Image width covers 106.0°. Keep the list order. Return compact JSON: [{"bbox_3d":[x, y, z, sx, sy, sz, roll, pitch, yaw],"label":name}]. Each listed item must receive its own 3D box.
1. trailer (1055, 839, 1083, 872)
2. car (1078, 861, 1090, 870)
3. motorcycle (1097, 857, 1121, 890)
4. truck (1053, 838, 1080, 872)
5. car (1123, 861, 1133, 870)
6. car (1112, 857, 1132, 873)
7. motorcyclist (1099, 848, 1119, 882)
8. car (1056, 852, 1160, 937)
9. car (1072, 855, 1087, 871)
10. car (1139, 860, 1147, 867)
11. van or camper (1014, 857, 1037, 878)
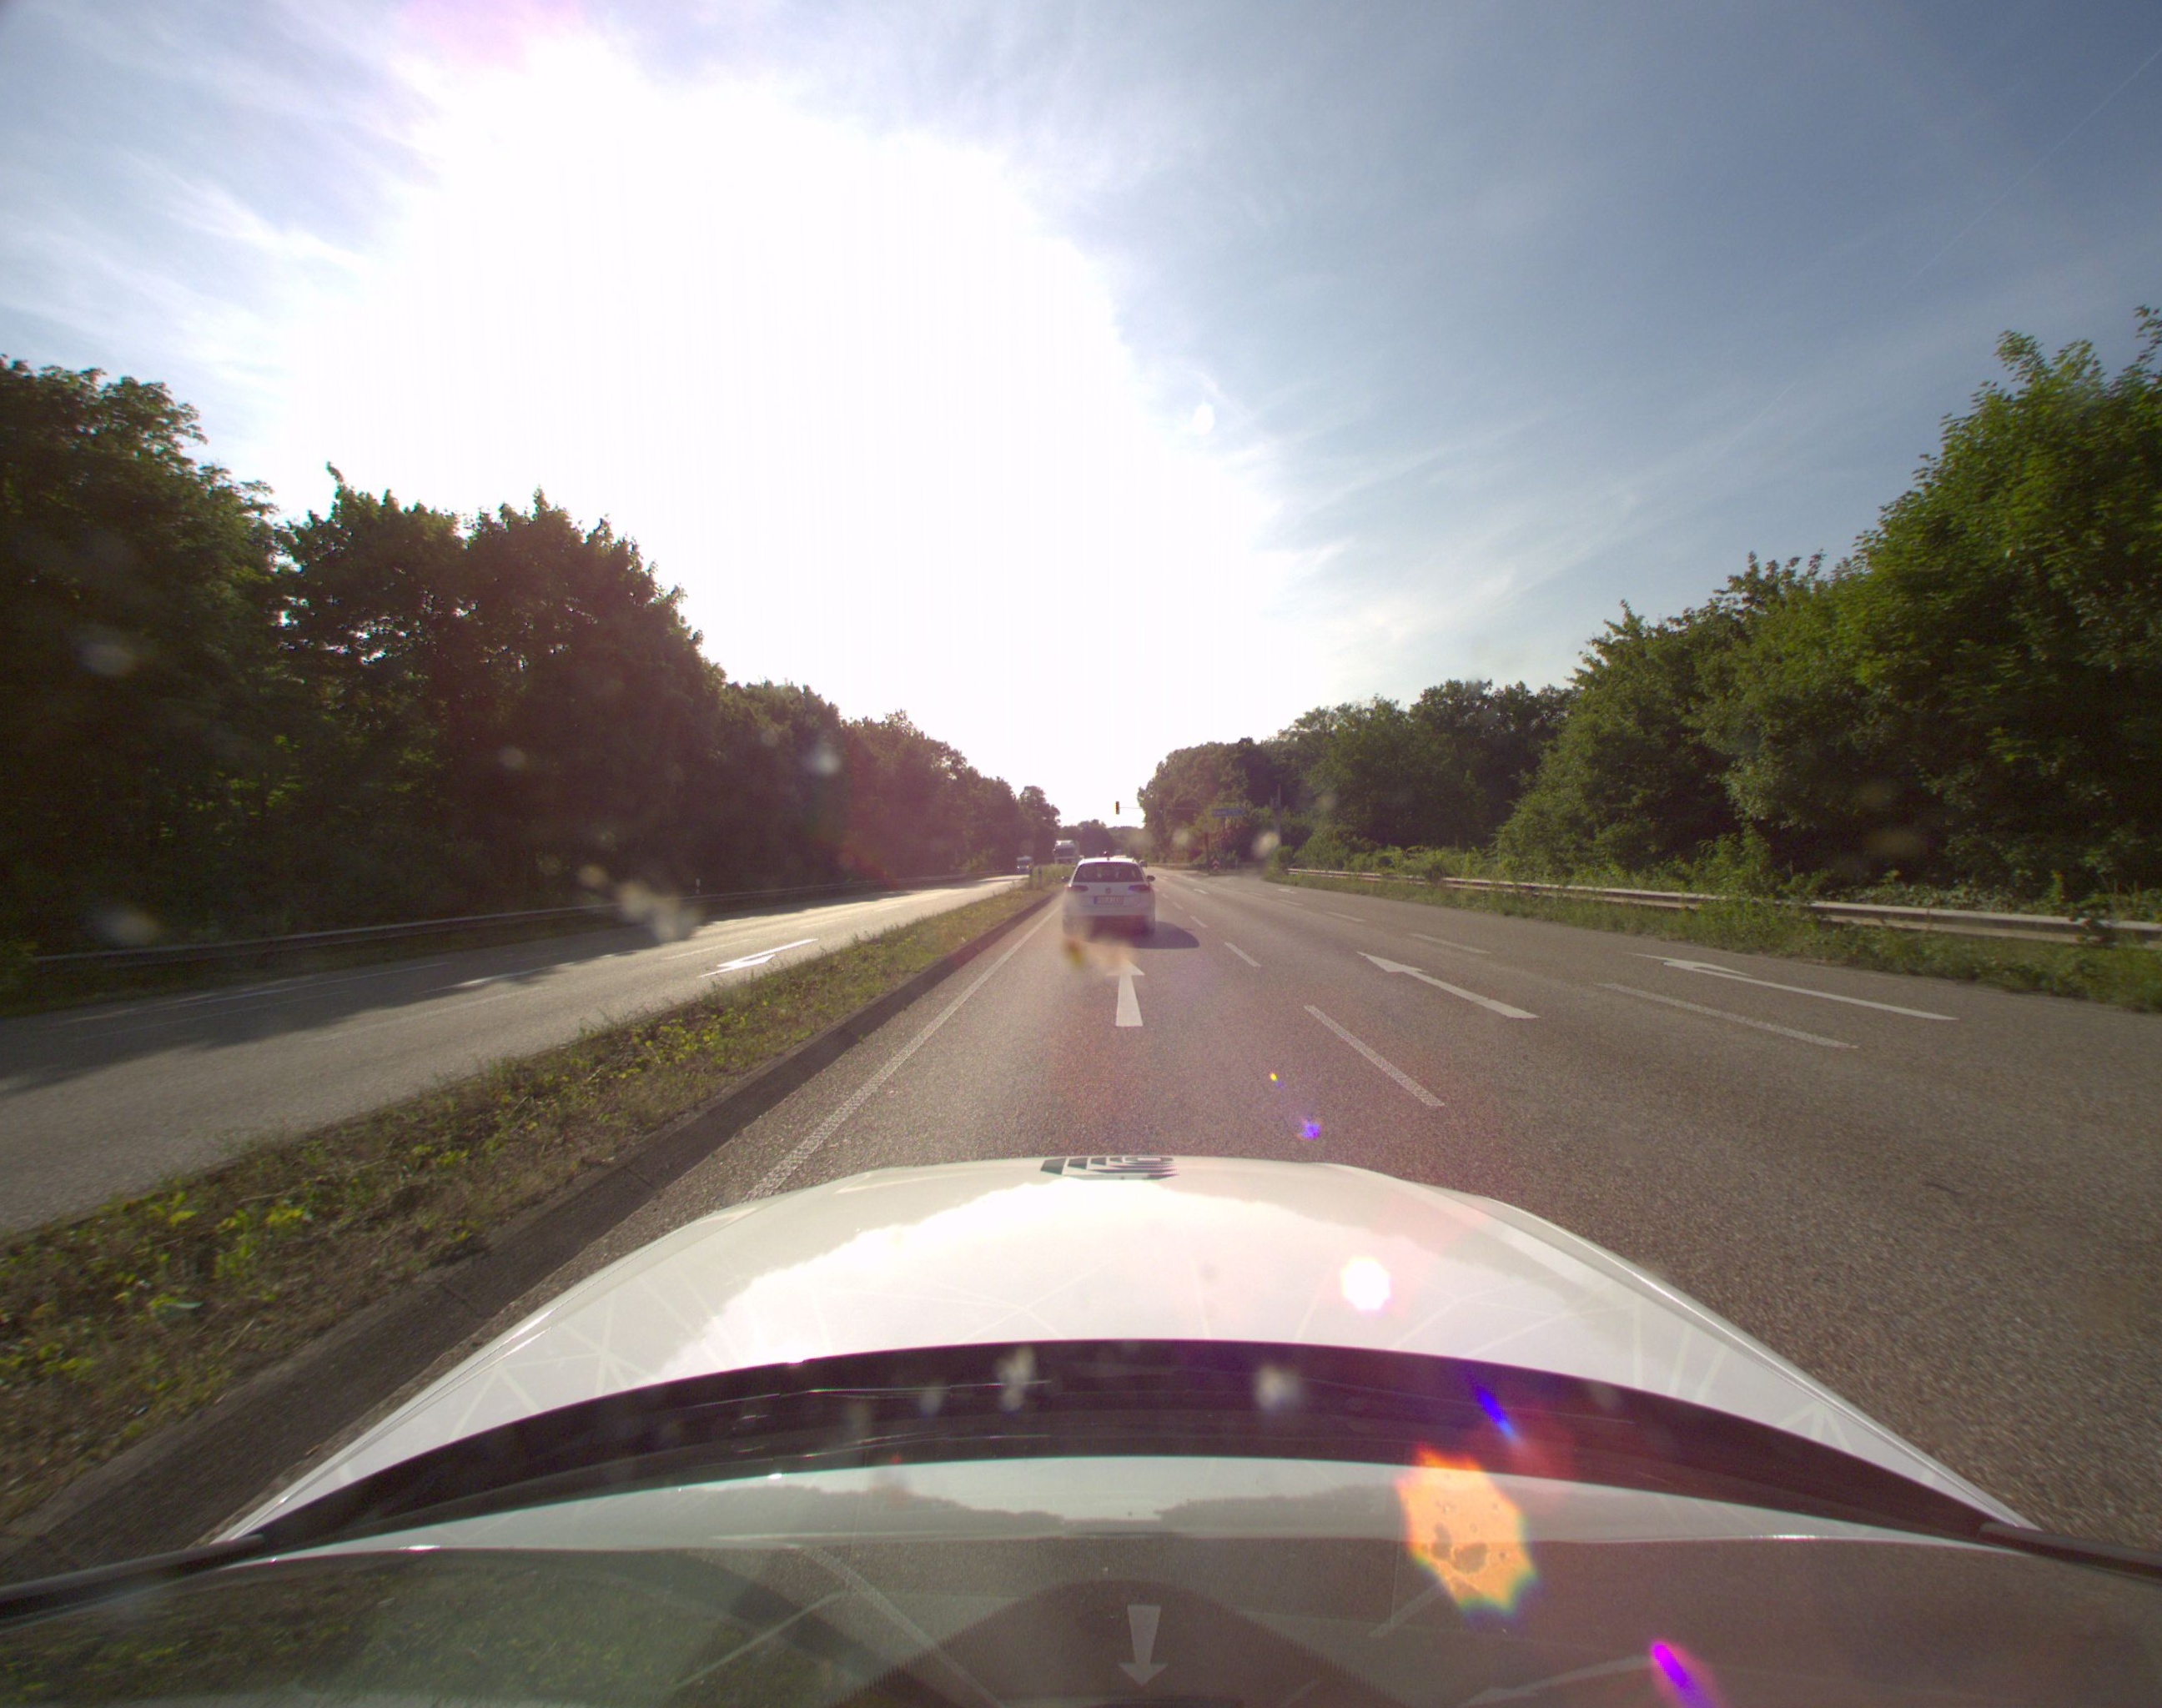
[{"bbox_3d":[-1.482,0.211,106.491,2.980,3.996,14.018,0,0,2],"label":"trailer"},{"bbox_3d":[0.553,2.010,139.464,1.753,1.456,5.189,-3,-1,3],"label":"car"},{"bbox_3d":[1.392,0.908,39.540,0.904,1.453,2.692,-5,0,5],"label":"motorcycle"},{"bbox_3d":[-1.705,0.148,98.749,2.880,3.997,6.723,0,-1,1],"label":"truck"},{"bbox_3d":[7.802,1.849,134.796,1.754,1.380,3.975,-1,0,3],"label":"car"},{"bbox_3d":[3.789,1.014,74.565,1.754,1.380,3.975,-1,0,3],"label":"car"},{"bbox_3d":[1.383,0.529,39.676,0.879,1.616,1.292,0,-1,5],"label":"motorcyclist"},{"bbox_3d":[0.615,0.752,17.177,1.862,1.521,4.838,-1,0,3],"label":"car"},{"bbox_3d":[-0.165,1.458,132.676,2.067,2.534,6.168,-3,-1,3],"label":"car"},{"bbox_3d":[13.653,2.035,179.403,1.754,1.380,3.975,-2,0,3],"label":"car"},{"bbox_3d":[-8.132,1.951,119.095,2.403,2.711,6.441,-4,-1,3],"label":"van or camper"}]
